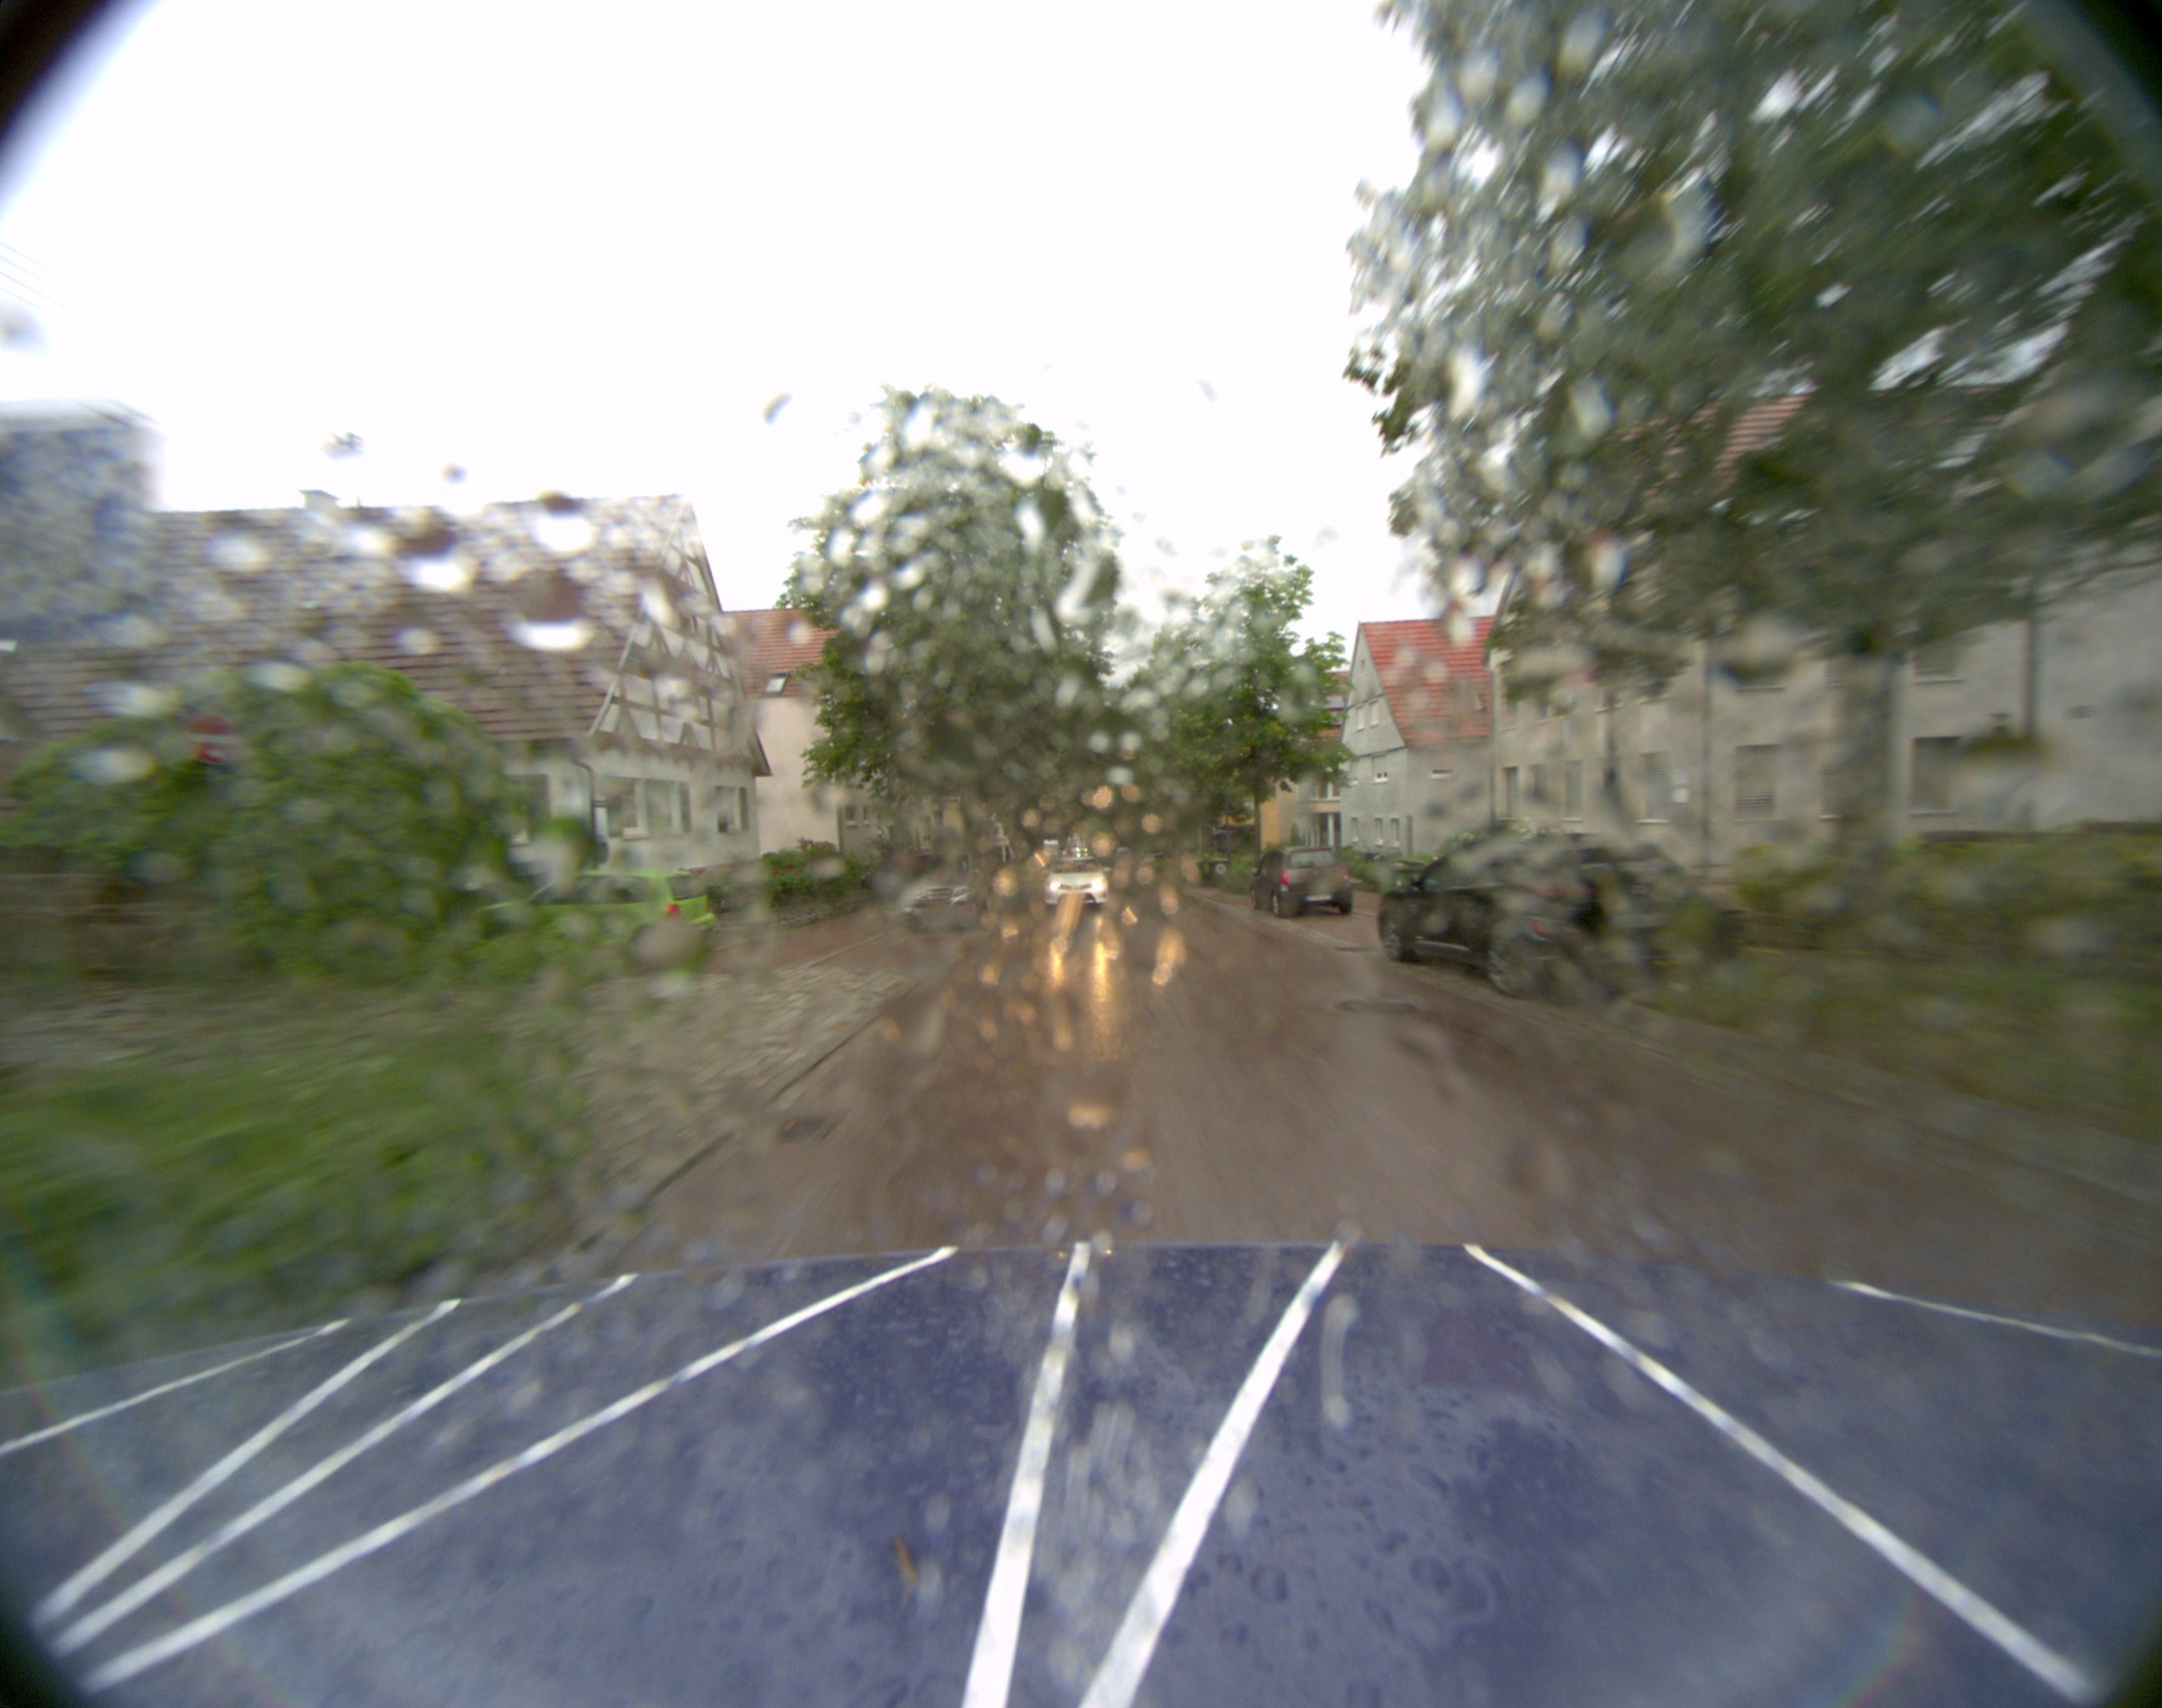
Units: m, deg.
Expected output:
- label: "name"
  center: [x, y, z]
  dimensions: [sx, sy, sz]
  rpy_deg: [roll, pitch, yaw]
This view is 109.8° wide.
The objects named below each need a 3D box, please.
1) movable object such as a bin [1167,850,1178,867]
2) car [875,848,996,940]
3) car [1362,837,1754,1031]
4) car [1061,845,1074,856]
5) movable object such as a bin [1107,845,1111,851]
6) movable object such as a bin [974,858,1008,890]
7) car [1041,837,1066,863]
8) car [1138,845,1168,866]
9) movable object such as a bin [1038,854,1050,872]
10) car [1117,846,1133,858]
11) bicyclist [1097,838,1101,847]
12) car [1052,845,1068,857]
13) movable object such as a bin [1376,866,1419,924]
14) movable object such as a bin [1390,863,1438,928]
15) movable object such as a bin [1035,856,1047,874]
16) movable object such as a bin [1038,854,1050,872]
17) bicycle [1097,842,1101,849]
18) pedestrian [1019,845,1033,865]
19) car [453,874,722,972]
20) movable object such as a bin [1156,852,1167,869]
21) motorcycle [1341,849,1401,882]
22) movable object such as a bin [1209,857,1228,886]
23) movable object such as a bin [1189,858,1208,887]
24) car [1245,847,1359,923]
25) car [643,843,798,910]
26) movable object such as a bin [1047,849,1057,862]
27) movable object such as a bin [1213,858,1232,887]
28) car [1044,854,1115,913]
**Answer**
- label: "movable object such as a bin"
  center: [5.844, 0.301, 48.518]
  dimensions: [0.596, 1.056, 0.545]
  rpy_deg: [-3, 1, 4]
- label: "car"
  center: [-3.253, 0.807, 17.917]
  dimensions: [1.919, 1.782, 4.487]
  rpy_deg: [-3, 1, 0]
- label: "car"
  center: [4.857, 0.679, 8.548]
  dimensions: [1.776, 1.544, 3.999]
  rpy_deg: [-4, 0, -1]
- label: "car"
  center: [-1.794, -0.543, 104.801]
  dimensions: [1.685, 1.391, 3.794]
  rpy_deg: [-2, 1, 0]
- label: "movable object such as a bin"
  center: [5.047, -1.113, 137.705]
  dimensions: [0.618, 1.053, 0.568]
  rpy_deg: [-5, 2, -1]
- label: "movable object such as a bin"
  center: [-3.787, 0.834, 32.113]
  dimensions: [1.227, 1.308, 1.134]
  rpy_deg: [-2, 1, 3]
- label: "car"
  center: [-2.689, -0.438, 74.797]
  dimensions: [2.146, 2.446, 5.434]
  rpy_deg: [-3, 1, 0]
- label: "car"
  center: [5.259, 0.087, 56.020]
  dimensions: [1.776, 1.381, 4.545]
  rpy_deg: [-4, 1, 2]
- label: "movable object such as a bin"
  center: [-2.311, 0.571, 47.710]
  dimensions: [0.690, 1.076, 0.540]
  rpy_deg: [-2, 2, -4]
- label: "car"
  center: [5.315, -0.240, 93.059]
  dimensions: [1.754, 1.388, 3.795]
  rpy_deg: [-3, 1, 1]
- label: "bicyclist"
  center: [3.407, -2.149, 143.468]
  dimensions: [0.629, 1.721, 0.880]
  rpy_deg: [-3, 2, 0]
- label: "car"
  center: [-2.659, -0.446, 95.790]
  dimensions: [1.813, 1.403, 3.782]
  rpy_deg: [-3, 1, 0]
- label: "movable object such as a bin"
  center: [6.235, 0.794, 14.982]
  dimensions: [0.554, 1.092, 0.595]
  rpy_deg: [-3, 0, -1]
- label: "movable object such as a bin"
  center: [6.281, 0.764, 14.350]
  dimensions: [0.584, 1.170, 0.618]
  rpy_deg: [-3, 0, -1]
- label: "movable object such as a bin"
  center: [-2.409, 0.661, 45.957]
  dimensions: [0.645, 1.076, 0.540]
  rpy_deg: [-3, 2, -4]
- label: "movable object such as a bin"
  center: [-2.346, 0.552, 48.285]
  dimensions: [0.690, 1.076, 0.540]
  rpy_deg: [-3, 2, -4]
- label: "bicycle"
  center: [3.424, -1.641, 143.475]
  dimensions: [0.629, 1.202, 1.980]
  rpy_deg: [-3, 1, 0]
- label: "pedestrian"
  center: [-4.707, 0.061, 65.047]
  dimensions: [0.955, 1.642, 0.794]
  rpy_deg: [-1, 2, 14]
- label: "car"
  center: [-8.091, 1.095, 12.714]
  dimensions: [3.374, 1.422, 1.630]
  rpy_deg: [-1, 1, -3]
- label: "movable object such as a bin"
  center: [5.138, 0.406, 48.324]
  dimensions: [0.596, 1.056, 0.545]
  rpy_deg: [-5, 1, 4]
- label: "motorcycle"
  center: [11.228, 0.440, 29.486]
  dimensions: [1.987, 1.155, 0.818]
  rpy_deg: [-3, 1, 1]
- label: "movable object such as a bin"
  center: [5.340, 0.686, 29.571]
  dimensions: [0.612, 1.105, 0.564]
  rpy_deg: [-2, 1, 2]
- label: "movable object such as a bin"
  center: [4.588, 0.704, 29.695]
  dimensions: [0.644, 1.105, 0.536]
  rpy_deg: [-2, 1, 2]
- label: "car"
  center: [5.111, 0.649, 18.070]
  dimensions: [1.651, 1.524, 3.866]
  rpy_deg: [-3, 1, 2]
- label: "car"
  center: [-12.921, 0.770, 27.469]
  dimensions: [4.472, 1.889, 1.999]
  rpy_deg: [-6, 2, -1]
- label: "movable object such as a bin"
  center: [-2.513, 0.139, 66.949]
  dimensions: [0.799, 1.069, 0.878]
  rpy_deg: [-3, 1, 0]
- label: "movable object such as a bin"
  center: [5.392, 0.699, 28.896]
  dimensions: [0.612, 1.105, 0.564]
  rpy_deg: [-2, 1, 2]
- label: "car"
  center: [0.029, 0.787, 22.266]
  dimensions: [1.828, 1.451, 3.875]
  rpy_deg: [-3, 1, 2]
